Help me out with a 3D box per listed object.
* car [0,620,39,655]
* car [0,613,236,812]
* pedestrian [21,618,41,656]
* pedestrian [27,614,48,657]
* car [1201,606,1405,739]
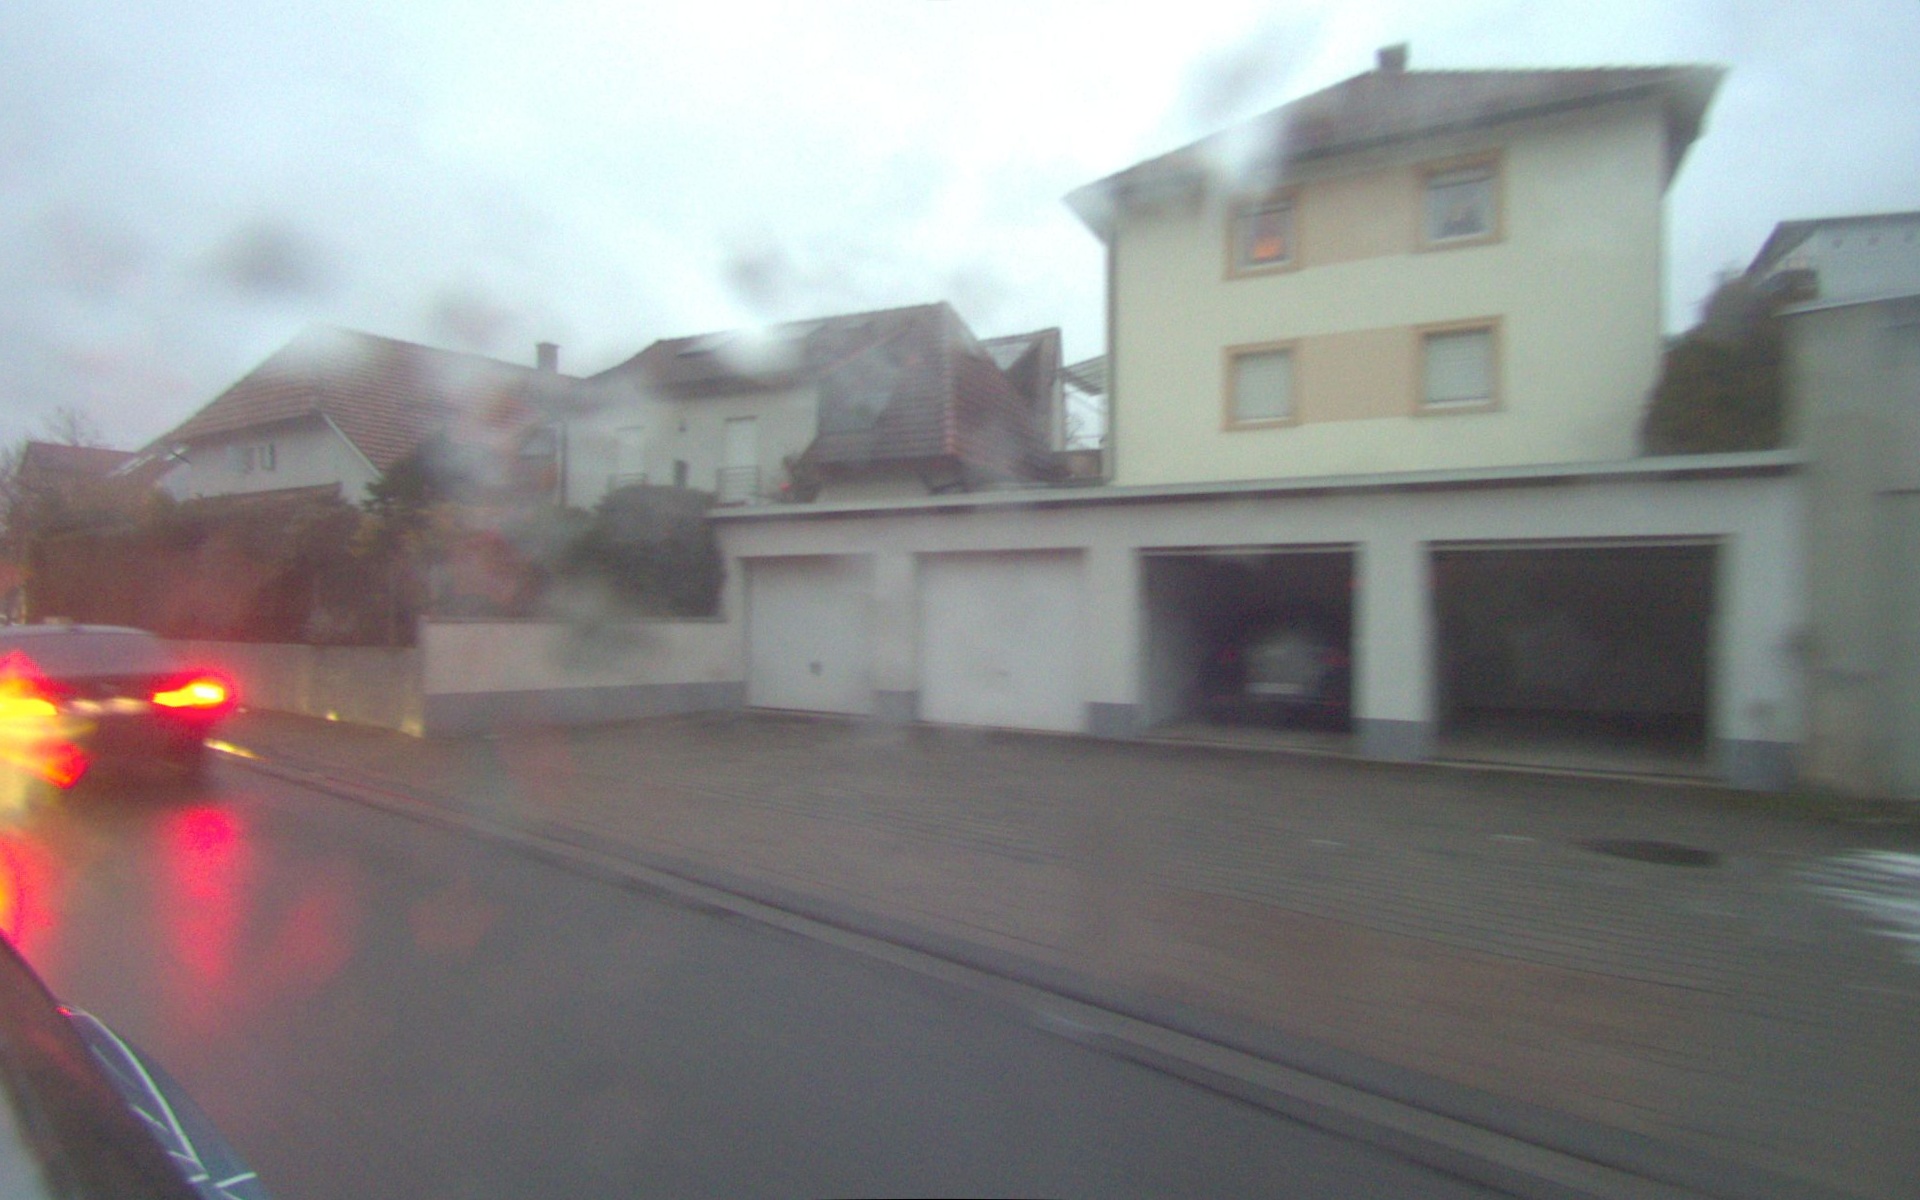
[{"bbox_3d":[-46.835,1.796,48.411,3.934,1.674,1.759,1,-2,-37],"label":"car"},{"bbox_3d":[-8.555,0.896,9.484,4.234,1.509,1.965,-1,-2,41],"label":"car"},{"bbox_3d":[-40.265,1.601,43.868,0.581,1.583,0.584,-1,0,41],"label":"pedestrian"},{"bbox_3d":[-38.976,1.477,42.750,0.581,1.797,0.584,-1,0,41],"label":"pedestrian"},{"bbox_3d":[4.512,0.814,12.952,1.754,1.414,3.959,-1,-1,30],"label":"car"}]
